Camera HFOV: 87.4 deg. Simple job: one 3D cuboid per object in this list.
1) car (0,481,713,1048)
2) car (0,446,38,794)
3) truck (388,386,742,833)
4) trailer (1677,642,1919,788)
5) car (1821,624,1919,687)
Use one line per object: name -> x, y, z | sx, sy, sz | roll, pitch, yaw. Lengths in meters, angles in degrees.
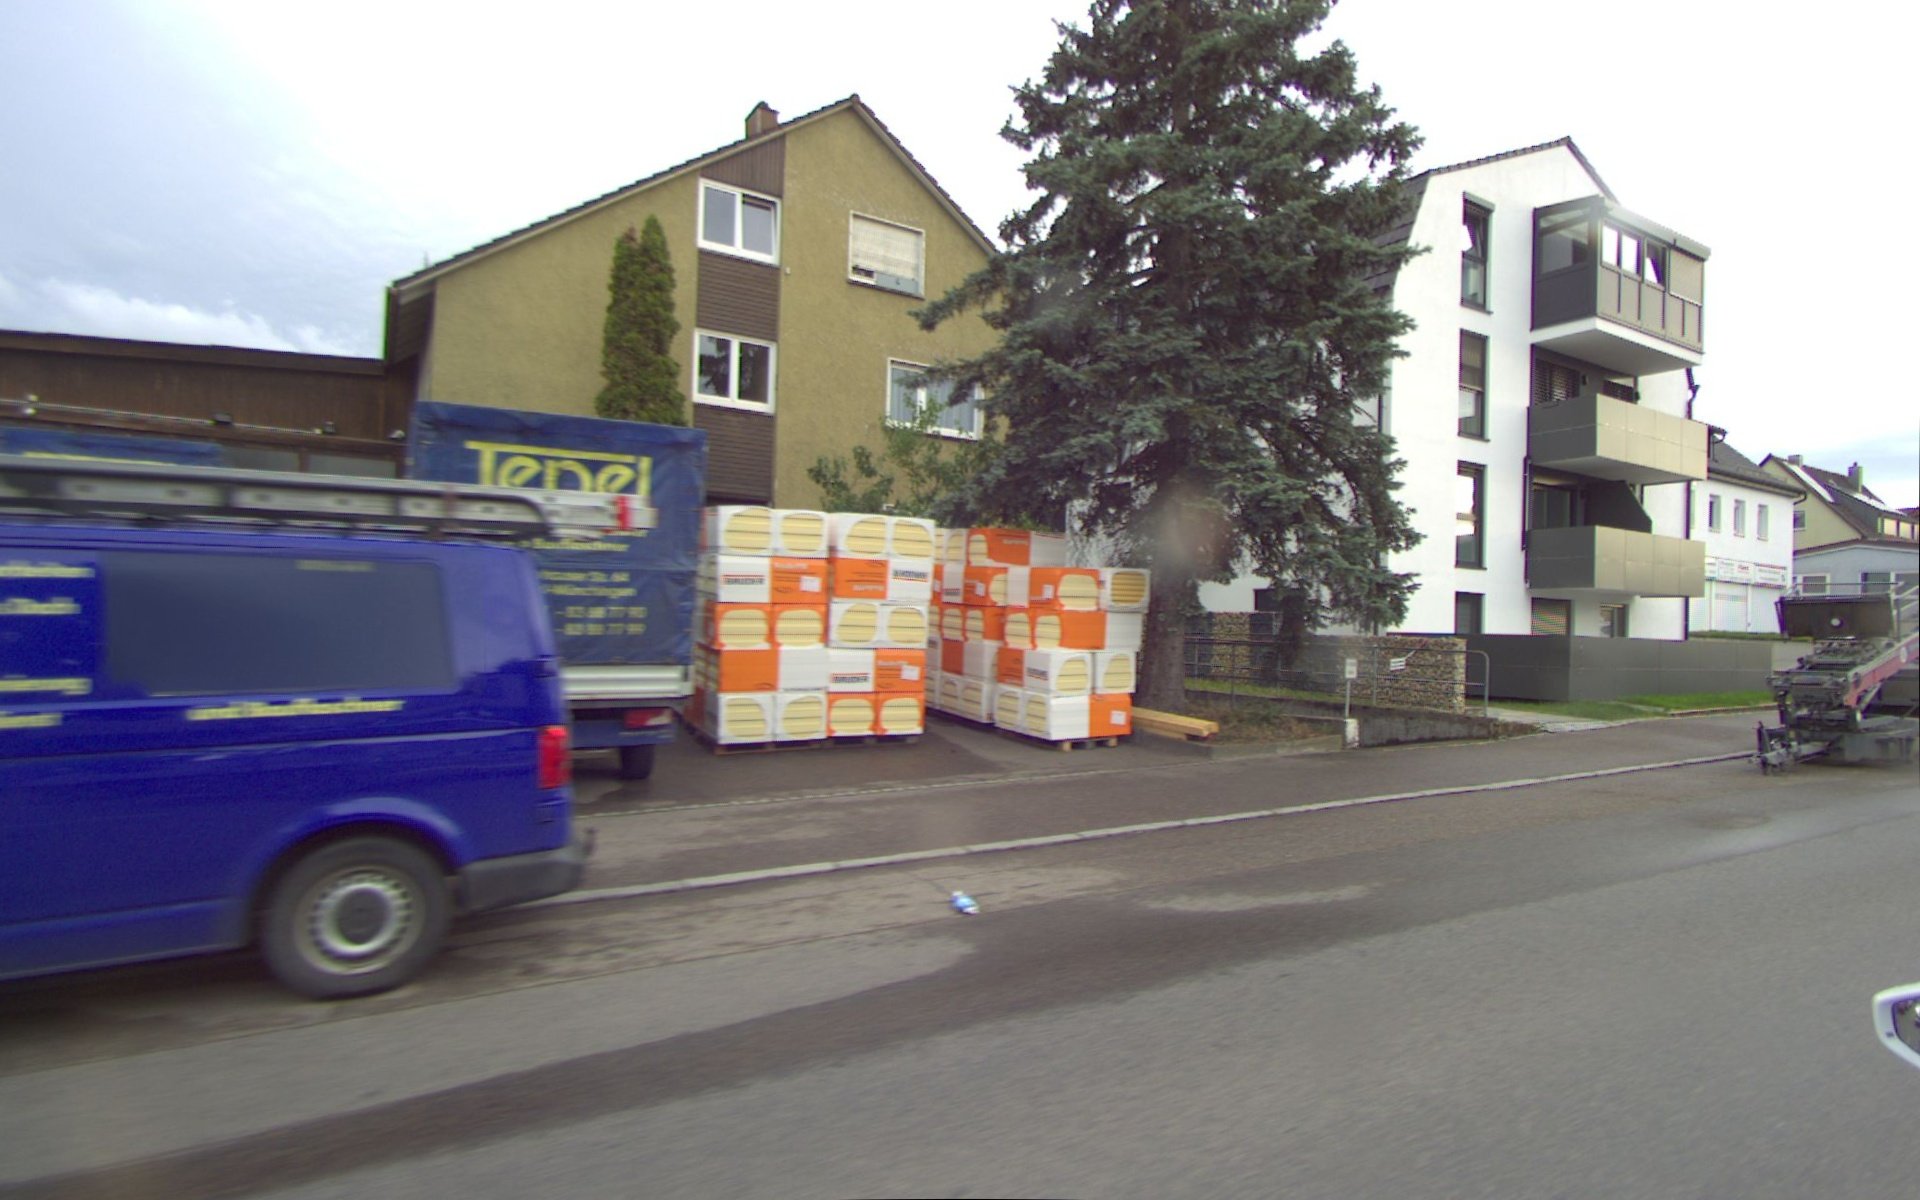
car -> -3.969, 0.550, 4.262 | 5.304, 1.973, 1.983 | 2, 0, -31
car -> -9.646, 0.068, 5.678 | 6.128, 2.601, 2.066 | 2, 0, -30
truck -> -4.291, 0.050, 10.185 | 2.420, 3.114, 5.885 | 2, 0, -29
trailer -> 11.043, 1.269, 12.429 | 5.186, 1.277, 1.707 | 0, 1, -32
car -> 26.237, 1.555, 27.459 | 1.636, 1.589, 3.740 | 2, 0, -31
